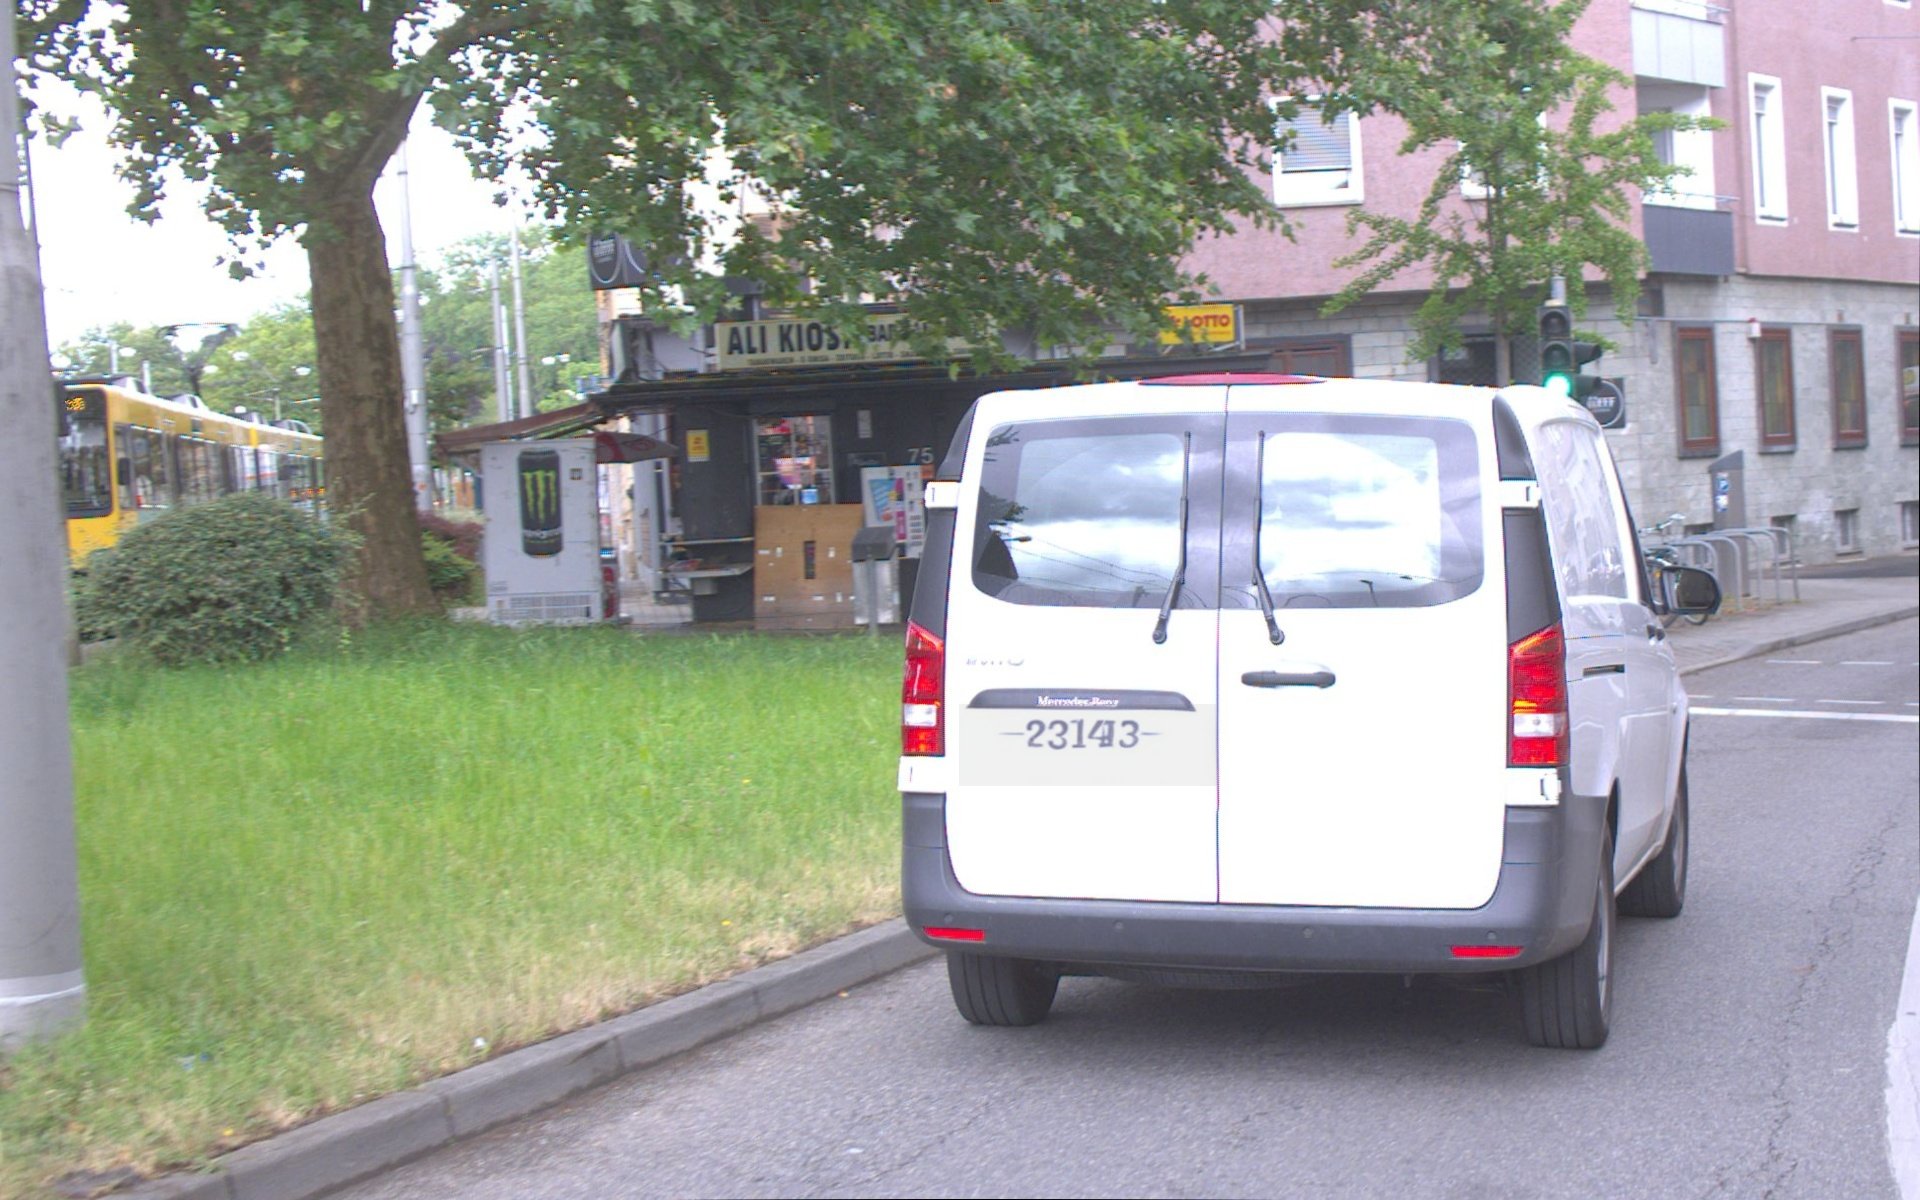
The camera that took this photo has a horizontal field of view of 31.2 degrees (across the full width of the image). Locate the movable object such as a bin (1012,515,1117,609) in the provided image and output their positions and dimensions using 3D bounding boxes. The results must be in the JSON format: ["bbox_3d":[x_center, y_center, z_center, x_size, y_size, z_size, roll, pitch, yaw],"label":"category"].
[{"bbox_3d":[1.136,-0.419,37.582,0.964,0.961,1.113,1,3,-7],"label":"movable object such as a bin"}]

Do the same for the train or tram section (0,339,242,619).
[{"bbox_3d":[-12.737,-1.653,50.727,2.915,3.659,11.008,1,1,-5],"label":"train or tram section"}]

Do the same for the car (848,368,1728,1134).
[{"bbox_3d":[1.297,0.275,11.005,1.919,1.895,4.698,1,2,17],"label":"car"}]

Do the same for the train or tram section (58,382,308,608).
[{"bbox_3d":[-13.736,-1.774,61.687,2.915,3.659,11.008,1,1,-5],"label":"train or tram section"}]

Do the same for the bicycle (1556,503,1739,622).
[{"bbox_3d":[6.974,-0.384,34.904,1.802,1.172,0.724,0,2,12],"label":"bicycle"}]
